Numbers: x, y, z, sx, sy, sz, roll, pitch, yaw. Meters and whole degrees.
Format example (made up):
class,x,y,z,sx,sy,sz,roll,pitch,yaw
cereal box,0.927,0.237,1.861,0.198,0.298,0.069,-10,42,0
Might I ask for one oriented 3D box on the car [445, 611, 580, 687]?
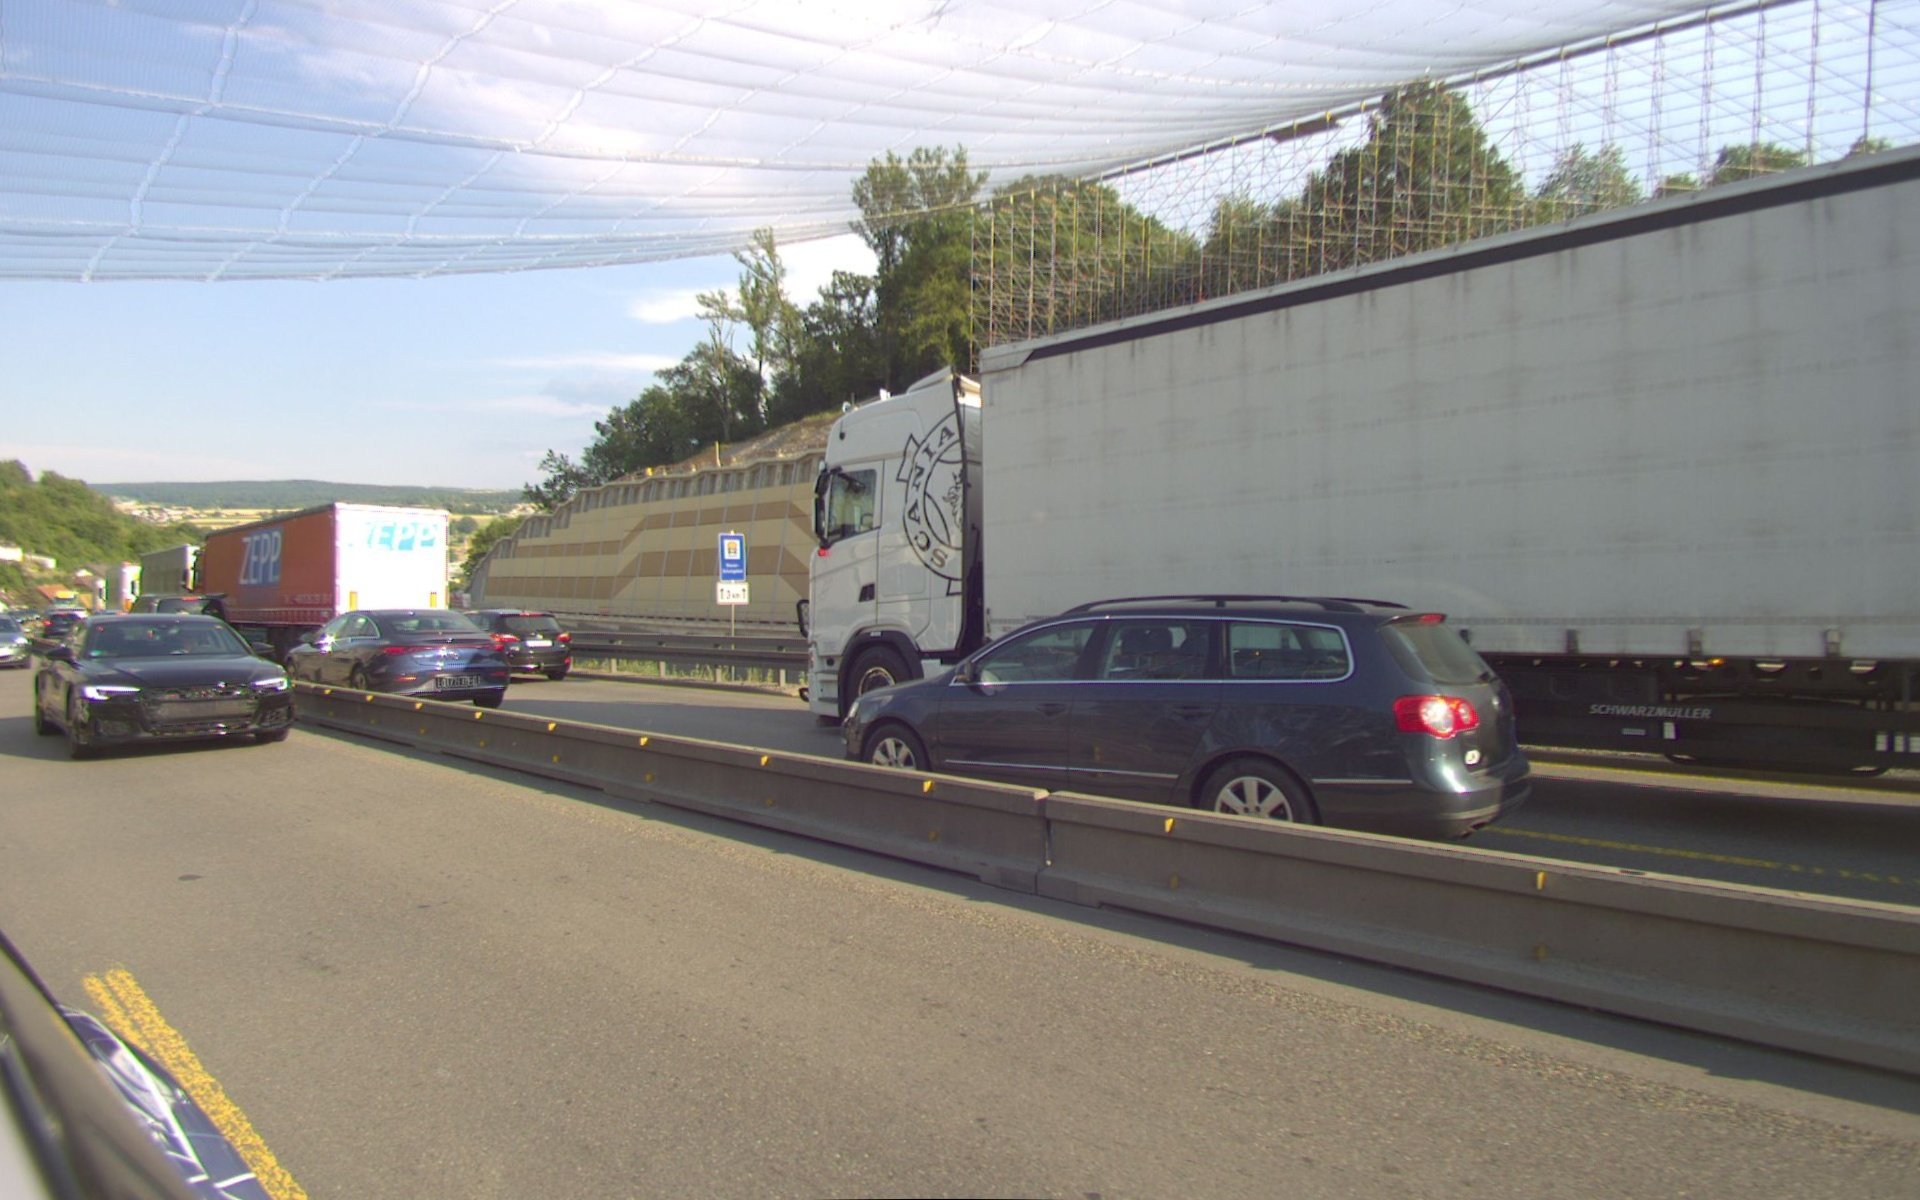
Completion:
class,x,y,z,sx,sy,sz,roll,pitch,yaw
car,-9.291,0.961,20.922,3.292,1.425,1.353,-1,0,43

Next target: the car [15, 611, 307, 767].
class,x,y,z,sx,sy,sz,roll,pitch,yaw
car,-9.445,0.878,11.786,4.960,1.409,1.914,-1,0,43

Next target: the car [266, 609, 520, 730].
class,x,y,z,sx,sy,sz,roll,pitch,yaw
car,-8.719,0.919,15.347,4.977,1.530,1.914,-1,0,43

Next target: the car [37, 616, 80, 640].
class,x,y,z,sx,sy,sz,roll,pitch,yaw
car,-50.272,1.537,56.429,3.291,1.243,1.385,-1,0,41

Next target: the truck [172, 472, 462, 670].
class,x,y,z,sx,sy,sz,roll,pitch,yaw
truck,-20.047,-0.608,30.479,17.405,4.593,2.955,-1,0,43

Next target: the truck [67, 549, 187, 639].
class,x,y,z,sx,sy,sz,roll,pitch,yaw
truck,-48.502,-0.239,58.591,17.405,4.593,2.955,-1,0,43

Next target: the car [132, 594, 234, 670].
class,x,y,z,sx,sy,sz,roll,pitch,yaw
car,-20.387,0.800,26.508,3.294,1.841,1.702,-1,0,45

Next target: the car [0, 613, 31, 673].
class,x,y,z,sx,sy,sz,roll,pitch,yaw
car,-25.910,1.112,26.601,4.351,1.484,1.737,-1,0,41

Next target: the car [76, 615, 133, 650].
class,x,y,z,sx,sy,sz,roll,pitch,yaw
car,-29.022,1.070,34.317,2.727,1.122,1.150,-1,0,43

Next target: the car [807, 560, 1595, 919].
class,x,y,z,sx,sy,sz,roll,pitch,yaw
car,1.276,0.617,6.604,4.642,1.546,1.915,-1,0,40

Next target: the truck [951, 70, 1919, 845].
class,x,y,z,sx,sy,sz,roll,pitch,yaw
truck,6.184,-0.792,6.555,14.158,4.259,2.694,-1,0,40

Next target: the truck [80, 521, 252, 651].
class,x,y,z,sx,sy,sz,roll,pitch,yaw
truck,-34.056,-0.426,42.877,17.405,4.593,2.955,-1,0,43

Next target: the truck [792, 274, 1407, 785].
class,x,y,z,sx,sy,sz,roll,pitch,yaw
truck,1.170,-0.524,10.720,6.044,3.937,2.490,-1,0,40

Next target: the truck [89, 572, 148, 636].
class,x,y,z,sx,sy,sz,roll,pitch,yaw
truck,-69.022,0.334,82.871,3.122,4.881,14.374,-1,0,-42

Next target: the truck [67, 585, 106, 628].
class,x,y,z,sx,sy,sz,roll,pitch,yaw
truck,-103.690,0.782,120.067,3.122,4.881,14.374,-1,0,-42
